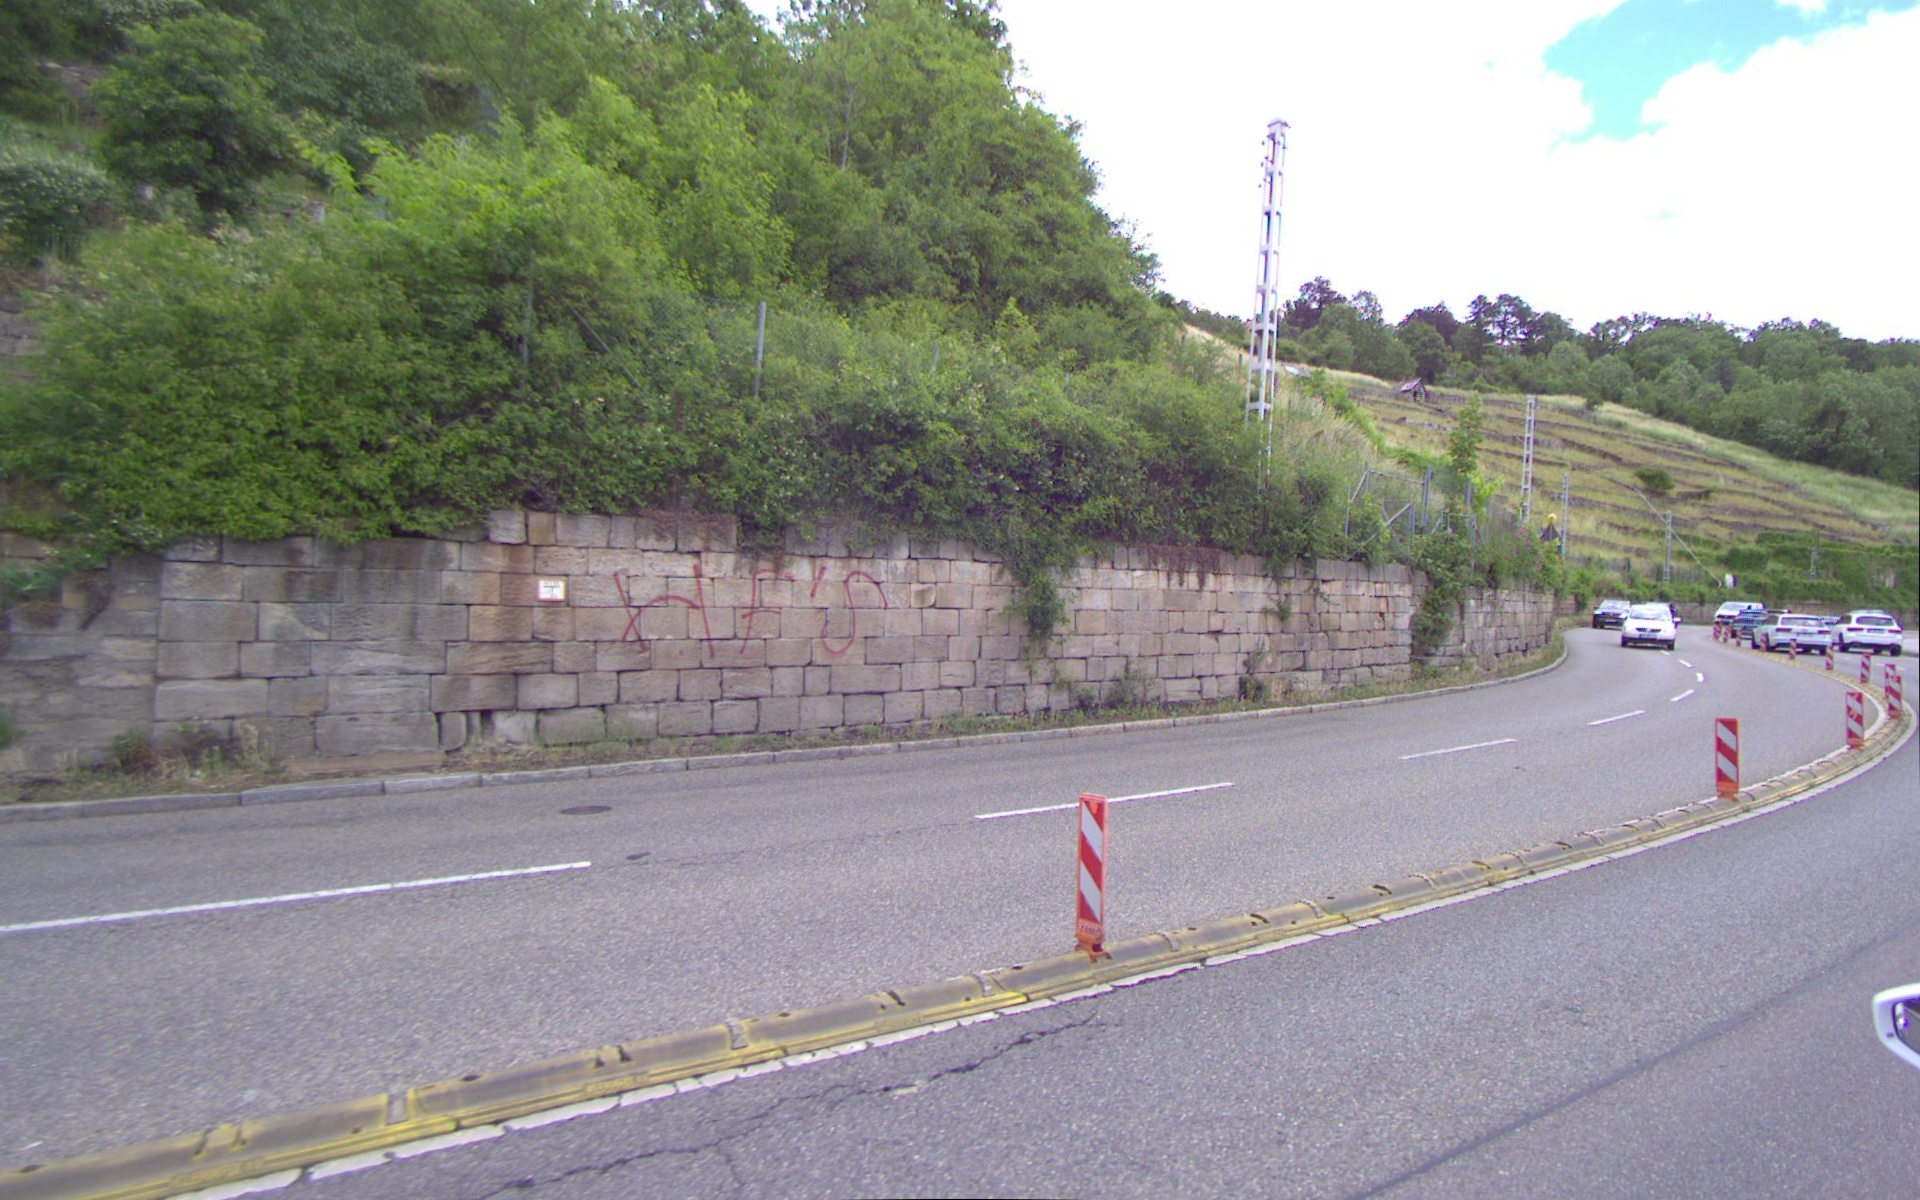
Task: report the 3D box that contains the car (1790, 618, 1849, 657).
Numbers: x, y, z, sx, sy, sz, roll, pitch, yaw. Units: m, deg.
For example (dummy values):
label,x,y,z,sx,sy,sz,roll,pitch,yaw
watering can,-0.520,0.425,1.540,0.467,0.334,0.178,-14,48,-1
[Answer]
label,x,y,z,sx,sy,sz,roll,pitch,yaw
car,46.605,2.045,54.536,1.967,2.040,3.988,0,-2,34

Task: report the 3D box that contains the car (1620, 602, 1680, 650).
label,x,y,z,sx,sy,sz,roll,pitch,yaw
car,25.730,0.922,37.496,1.678,1.569,3.987,4,3,34

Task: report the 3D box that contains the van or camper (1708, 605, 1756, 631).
label,x,y,z,sx,sy,sz,roll,pitch,yaw
van or camper,60.409,1.410,78.585,4.926,2.043,2.128,1,-1,-42

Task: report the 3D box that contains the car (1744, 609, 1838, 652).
label,x,y,z,sx,sy,sz,roll,pitch,yaw
car,31.837,1.215,38.626,1.964,1.522,4.660,-1,-4,30

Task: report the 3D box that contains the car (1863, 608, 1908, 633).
label,x,y,z,sx,sy,sz,roll,pitch,yaw
car,78.532,1.758,85.218,3.959,1.784,1.858,5,-2,-33

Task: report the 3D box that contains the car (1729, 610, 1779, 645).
label,x,y,z,sx,sy,sz,roll,pitch,yaw
car,42.423,1.508,53.741,1.968,1.669,3.986,-2,-4,37

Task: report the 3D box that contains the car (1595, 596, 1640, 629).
label,x,y,z,sx,sy,sz,roll,pitch,yaw
car,37.451,0.739,57.175,1.819,1.748,4.446,2,0,37

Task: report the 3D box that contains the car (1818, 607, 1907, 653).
label,x,y,z,sx,sy,sz,roll,pitch,yaw
car,37.338,1.291,41.662,1.965,1.740,4.106,-1,-4,31
